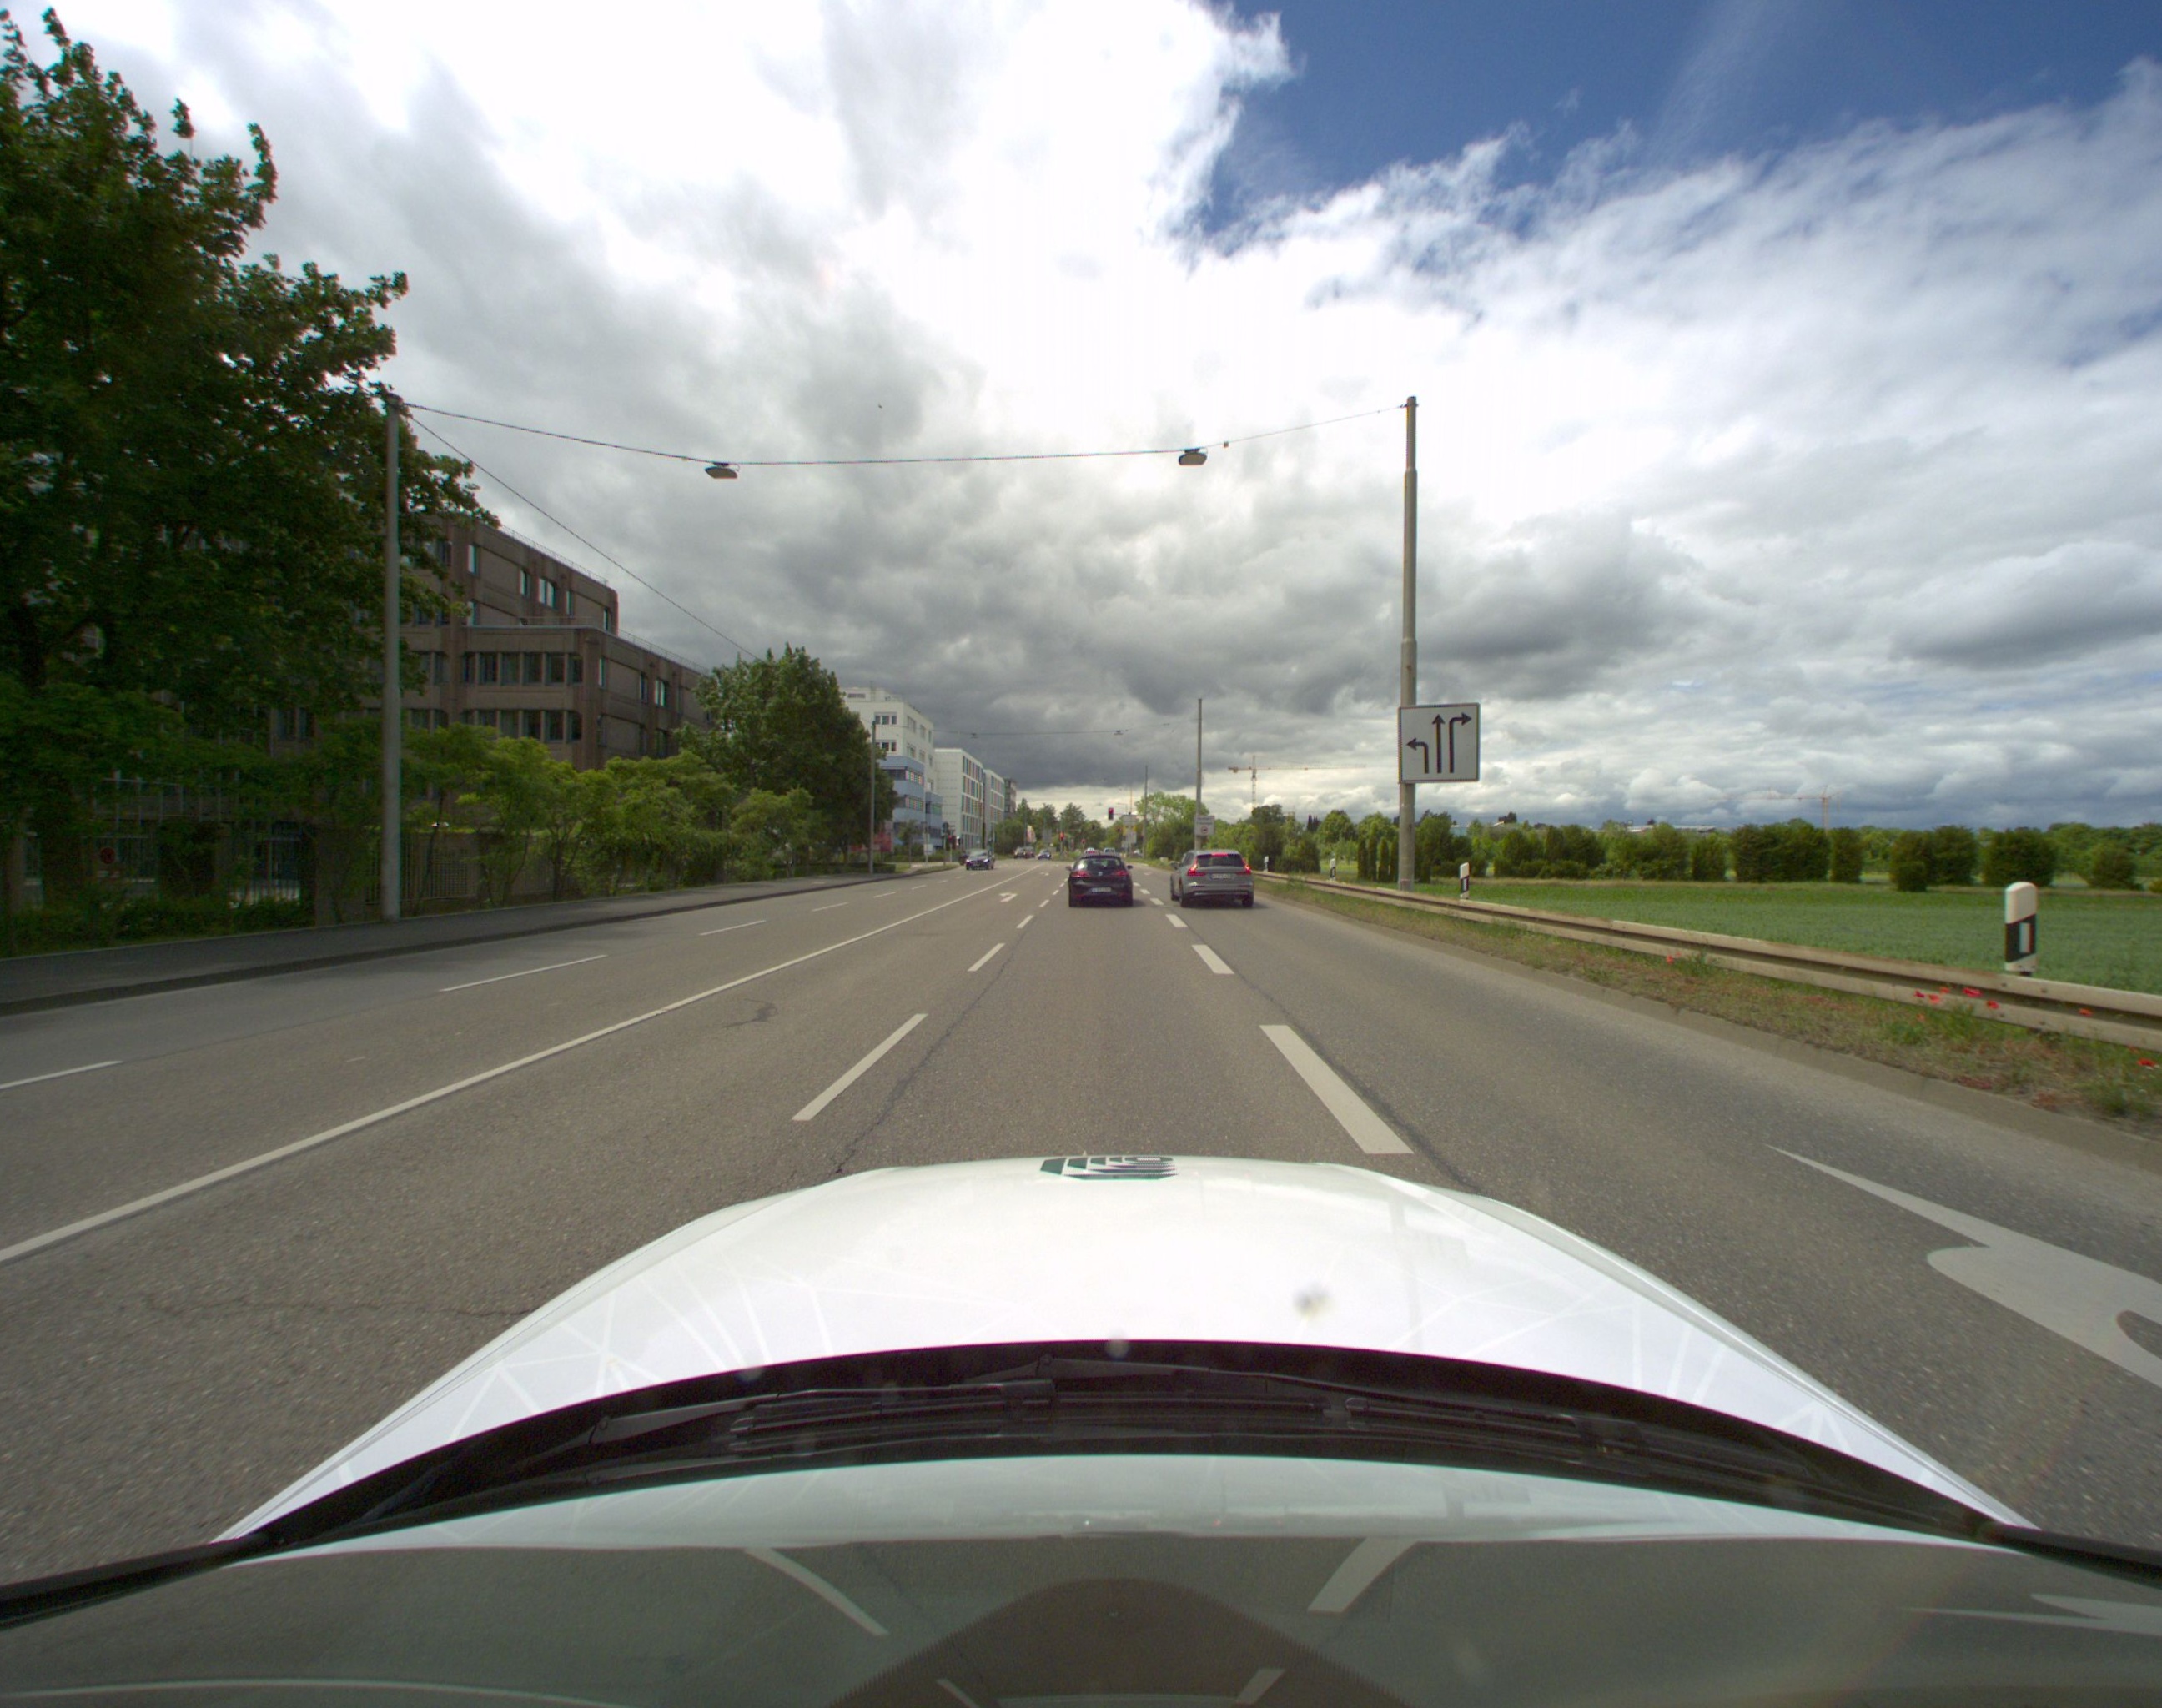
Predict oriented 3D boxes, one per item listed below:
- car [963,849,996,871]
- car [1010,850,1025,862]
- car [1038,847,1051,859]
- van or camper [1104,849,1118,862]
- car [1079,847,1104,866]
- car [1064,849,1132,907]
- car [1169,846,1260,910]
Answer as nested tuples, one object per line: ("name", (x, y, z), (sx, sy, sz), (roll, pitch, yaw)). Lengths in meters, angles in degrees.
("car", (-7.891, 0.478, 63.770), (1.789, 1.585, 4.315), (3, 0, 2))
("car", (-9.072, 0.306, 116.230), (1.746, 1.631, 3.999), (-1, 0, -1))
("car", (-5.095, -0.150, 115.038), (1.663, 1.524, 4.007), (-2, 2, -1))
("van or camper", (4.708, 0.239, 127.588), (1.895, 1.926, 3.996), (2, 0, -3))
("car", (0.902, 0.173, 71.745), (1.978, 1.590, 4.224), (1, 1, -1))
("car", (0.550, 0.623, 23.025), (1.740, 1.484, 4.003), (0, 0, 3))
("car", (3.524, 0.603, 22.226), (1.950, 1.525, 4.343), (-1, 0, 3))
